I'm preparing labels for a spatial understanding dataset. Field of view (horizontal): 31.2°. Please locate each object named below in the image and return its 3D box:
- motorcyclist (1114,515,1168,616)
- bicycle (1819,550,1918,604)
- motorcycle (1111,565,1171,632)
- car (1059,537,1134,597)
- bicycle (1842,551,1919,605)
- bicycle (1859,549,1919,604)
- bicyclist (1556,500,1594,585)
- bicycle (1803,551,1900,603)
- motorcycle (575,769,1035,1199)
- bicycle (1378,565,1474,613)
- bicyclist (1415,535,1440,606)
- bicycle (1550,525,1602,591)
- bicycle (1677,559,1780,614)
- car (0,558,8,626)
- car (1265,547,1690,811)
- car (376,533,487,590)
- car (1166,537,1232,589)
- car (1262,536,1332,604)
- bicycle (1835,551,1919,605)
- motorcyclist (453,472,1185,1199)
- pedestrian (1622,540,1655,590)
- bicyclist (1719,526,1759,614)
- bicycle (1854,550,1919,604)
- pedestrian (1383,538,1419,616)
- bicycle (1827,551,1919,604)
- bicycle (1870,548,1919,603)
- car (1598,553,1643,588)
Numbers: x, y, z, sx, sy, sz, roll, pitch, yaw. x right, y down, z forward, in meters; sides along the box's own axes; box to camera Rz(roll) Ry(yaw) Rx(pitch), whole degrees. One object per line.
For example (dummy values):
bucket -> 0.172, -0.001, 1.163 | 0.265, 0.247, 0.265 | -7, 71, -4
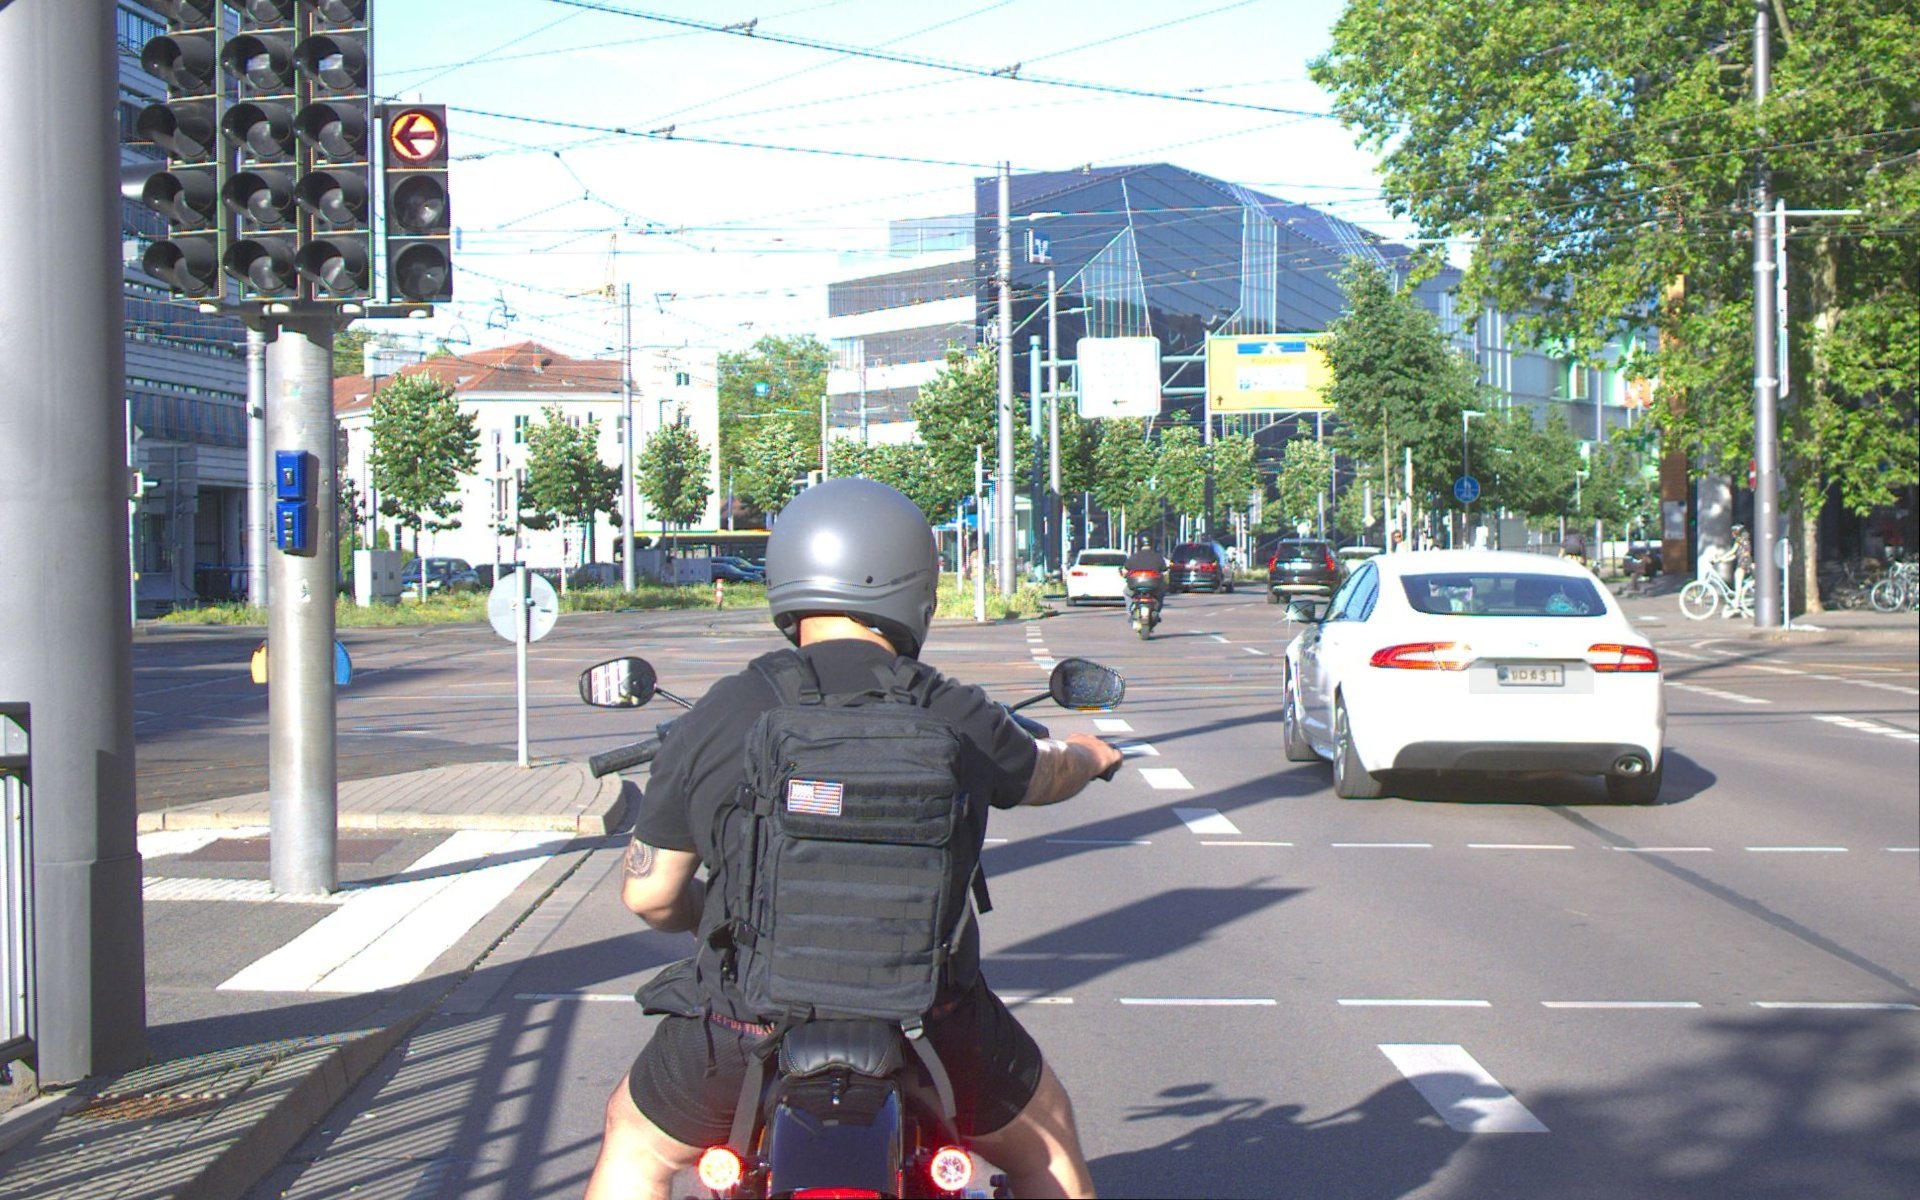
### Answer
motorcyclist -> 2.879, -0.547, 54.732 | 0.796, 1.574, 0.529 | 1, 0, -1
bicycle -> 18.373, -0.462, 69.505 | 1.880, 1.043, 0.360 | 1, 1, -1
motorcycle -> 2.876, -0.030, 54.872 | 0.804, 1.047, 2.376 | 1, 0, 0
car -> 3.447, -0.807, 86.364 | 1.732, 1.452, 4.417 | 1, 0, 4
bicycle -> 18.413, -0.434, 67.887 | 1.880, 1.043, 0.360 | 1, 1, -1
bicycle -> 18.389, -0.452, 66.515 | 1.880, 1.043, 0.360 | 1, 0, -1
bicyclist -> 13.076, -1.217, 73.124 | 0.697, 1.802, 0.728 | 1, 0, 4
bicycle -> 18.329, -0.477, 70.655 | 1.880, 1.043, 0.360 | 1, 1, -1
motorcycle -> -0.222, 0.877, 5.648 | 0.600, 1.032, 2.234 | 1, 1, -1
bicycle -> 9.087, -0.215, 67.079 | 1.825, 0.922, 0.358 | 1, 0, -8
bicyclist -> 9.115, -0.573, 67.088 | 0.380, 1.368, 0.345 | 1, 0, -9
bicycle -> 13.070, -0.875, 73.038 | 0.726, 1.362, 2.917 | 1, 0, 3
bicycle -> 14.580, -0.253, 65.242 | 1.872, 1.040, 0.536 | 0, 0, 19
car -> -21.424, -0.186, 70.720 | 1.826, 1.426, 4.239 | 1, 0, 11
car -> 3.037, 0.399, 21.077 | 1.803, 1.425, 4.453 | 0, 1, -2
car -> -14.648, -1.051, 95.452 | 1.750, 1.519, 3.998 | 1, 0, 11
car -> 8.018, -1.222, 115.194 | 1.804, 1.672, 4.039 | 1, 0, 9
car -> 9.147, -0.841, 93.016 | 1.732, 1.726, 4.611 | 1, 2, 7
bicycle -> 18.434, -0.437, 68.519 | 1.880, 1.043, 0.360 | 1, 0, -1
motorcyclist -> -0.202, 0.607, 5.311 | 1.030, 1.588, 0.873 | 0, 1, -1
pedestrian -> 17.878, -0.918, 90.590 | 0.819, 1.309, 0.637 | 1, 0, 9
bicyclist -> 14.772, -0.569, 65.177 | 0.688, 1.667, 0.540 | 0, 0, 19
bicycle -> 18.497, -0.441, 67.331 | 1.880, 1.043, 0.360 | 1, 0, -1
pedestrian -> 8.804, -0.464, 68.670 | 0.587, 1.551, 0.489 | 1, 0, -8
bicycle -> 18.396, -0.452, 69.005 | 1.880, 1.043, 0.360 | 1, 1, -1
bicycle -> 18.397, -0.459, 65.732 | 1.880, 1.043, 0.360 | 1, 0, -1
car -> 32.734, -1.471, 170.383 | 1.805, 1.672, 4.038 | 1, 0, 16
